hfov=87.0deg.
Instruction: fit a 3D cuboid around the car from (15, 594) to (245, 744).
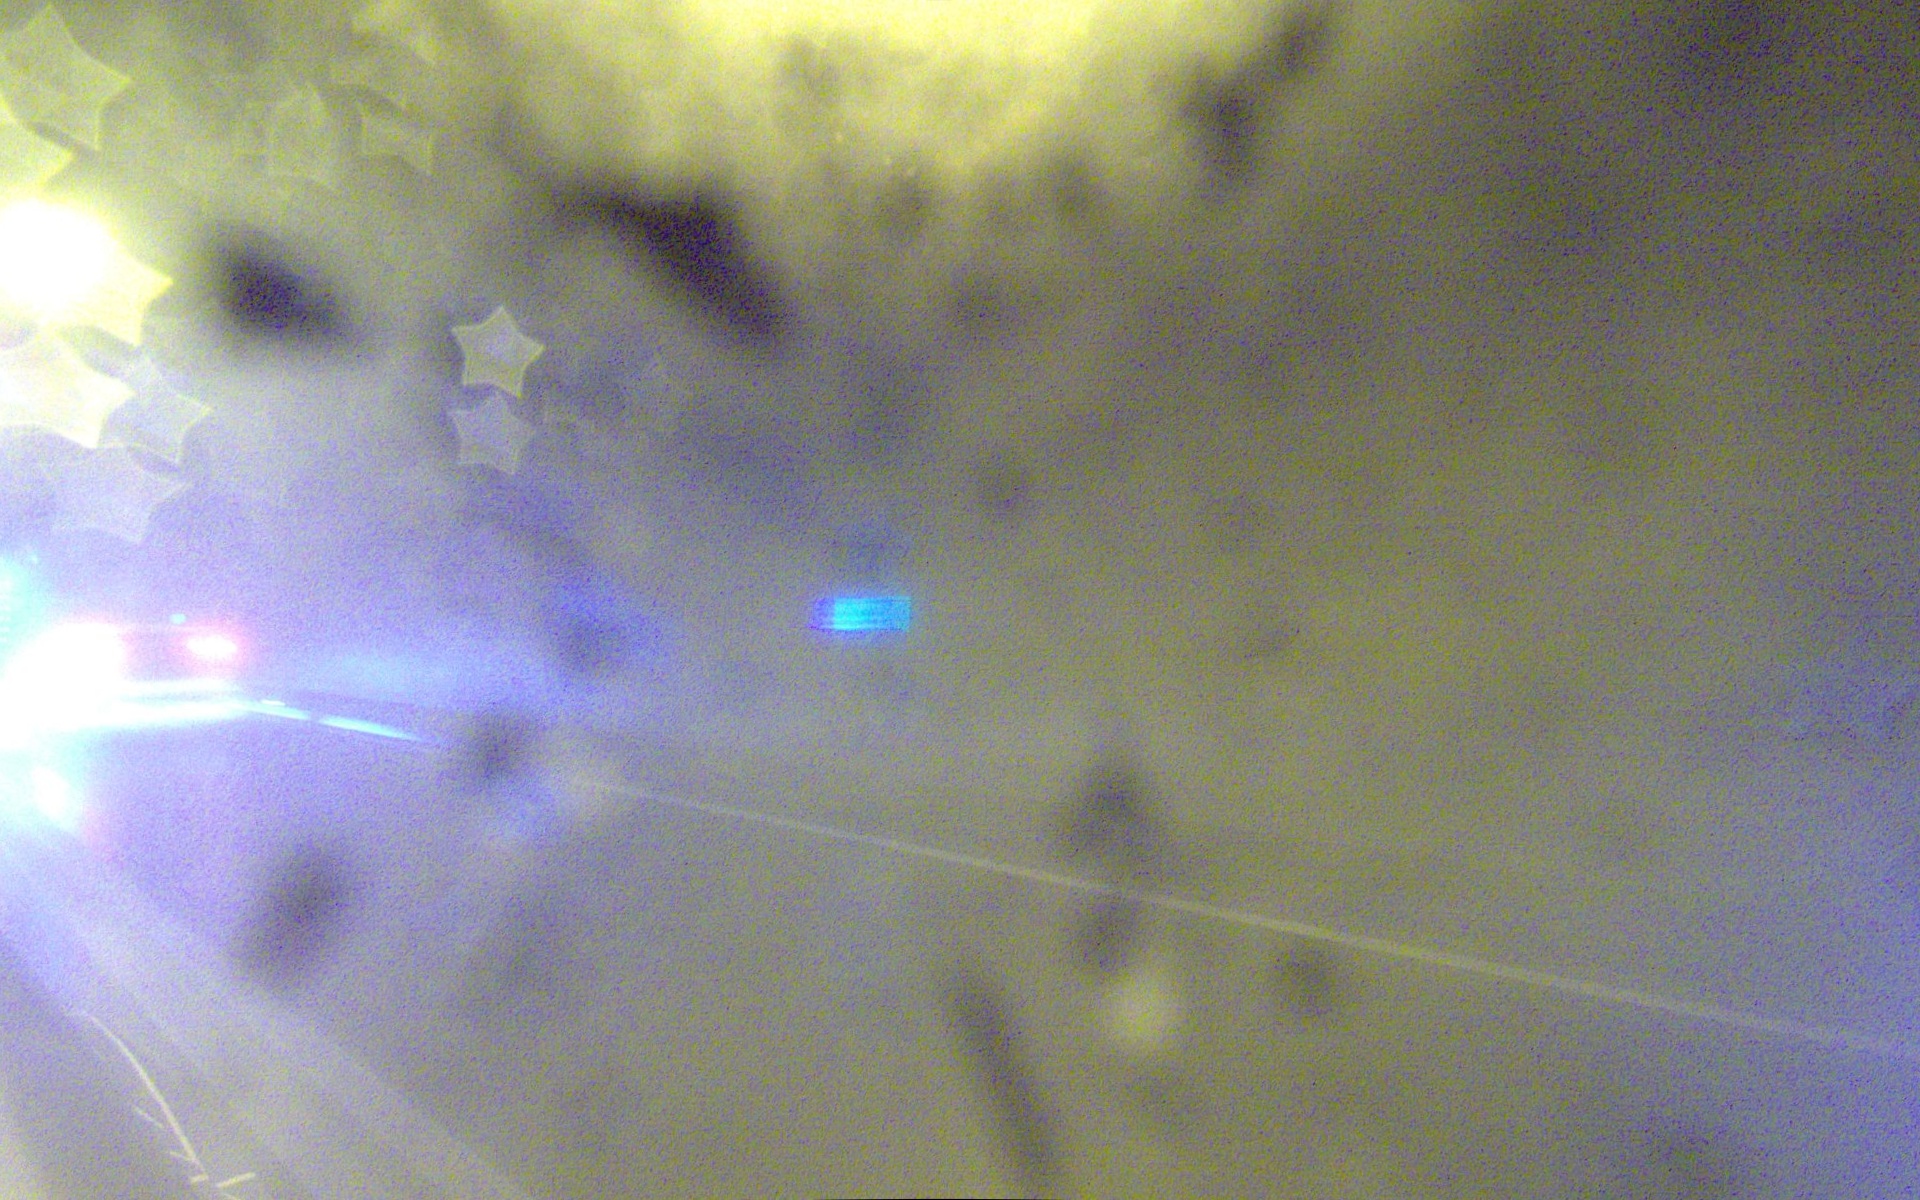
[{"bbox_3d":[-10.885,0.867,13.188,3.904,1.660,1.651,-3,-4,41],"label":"car"}]
